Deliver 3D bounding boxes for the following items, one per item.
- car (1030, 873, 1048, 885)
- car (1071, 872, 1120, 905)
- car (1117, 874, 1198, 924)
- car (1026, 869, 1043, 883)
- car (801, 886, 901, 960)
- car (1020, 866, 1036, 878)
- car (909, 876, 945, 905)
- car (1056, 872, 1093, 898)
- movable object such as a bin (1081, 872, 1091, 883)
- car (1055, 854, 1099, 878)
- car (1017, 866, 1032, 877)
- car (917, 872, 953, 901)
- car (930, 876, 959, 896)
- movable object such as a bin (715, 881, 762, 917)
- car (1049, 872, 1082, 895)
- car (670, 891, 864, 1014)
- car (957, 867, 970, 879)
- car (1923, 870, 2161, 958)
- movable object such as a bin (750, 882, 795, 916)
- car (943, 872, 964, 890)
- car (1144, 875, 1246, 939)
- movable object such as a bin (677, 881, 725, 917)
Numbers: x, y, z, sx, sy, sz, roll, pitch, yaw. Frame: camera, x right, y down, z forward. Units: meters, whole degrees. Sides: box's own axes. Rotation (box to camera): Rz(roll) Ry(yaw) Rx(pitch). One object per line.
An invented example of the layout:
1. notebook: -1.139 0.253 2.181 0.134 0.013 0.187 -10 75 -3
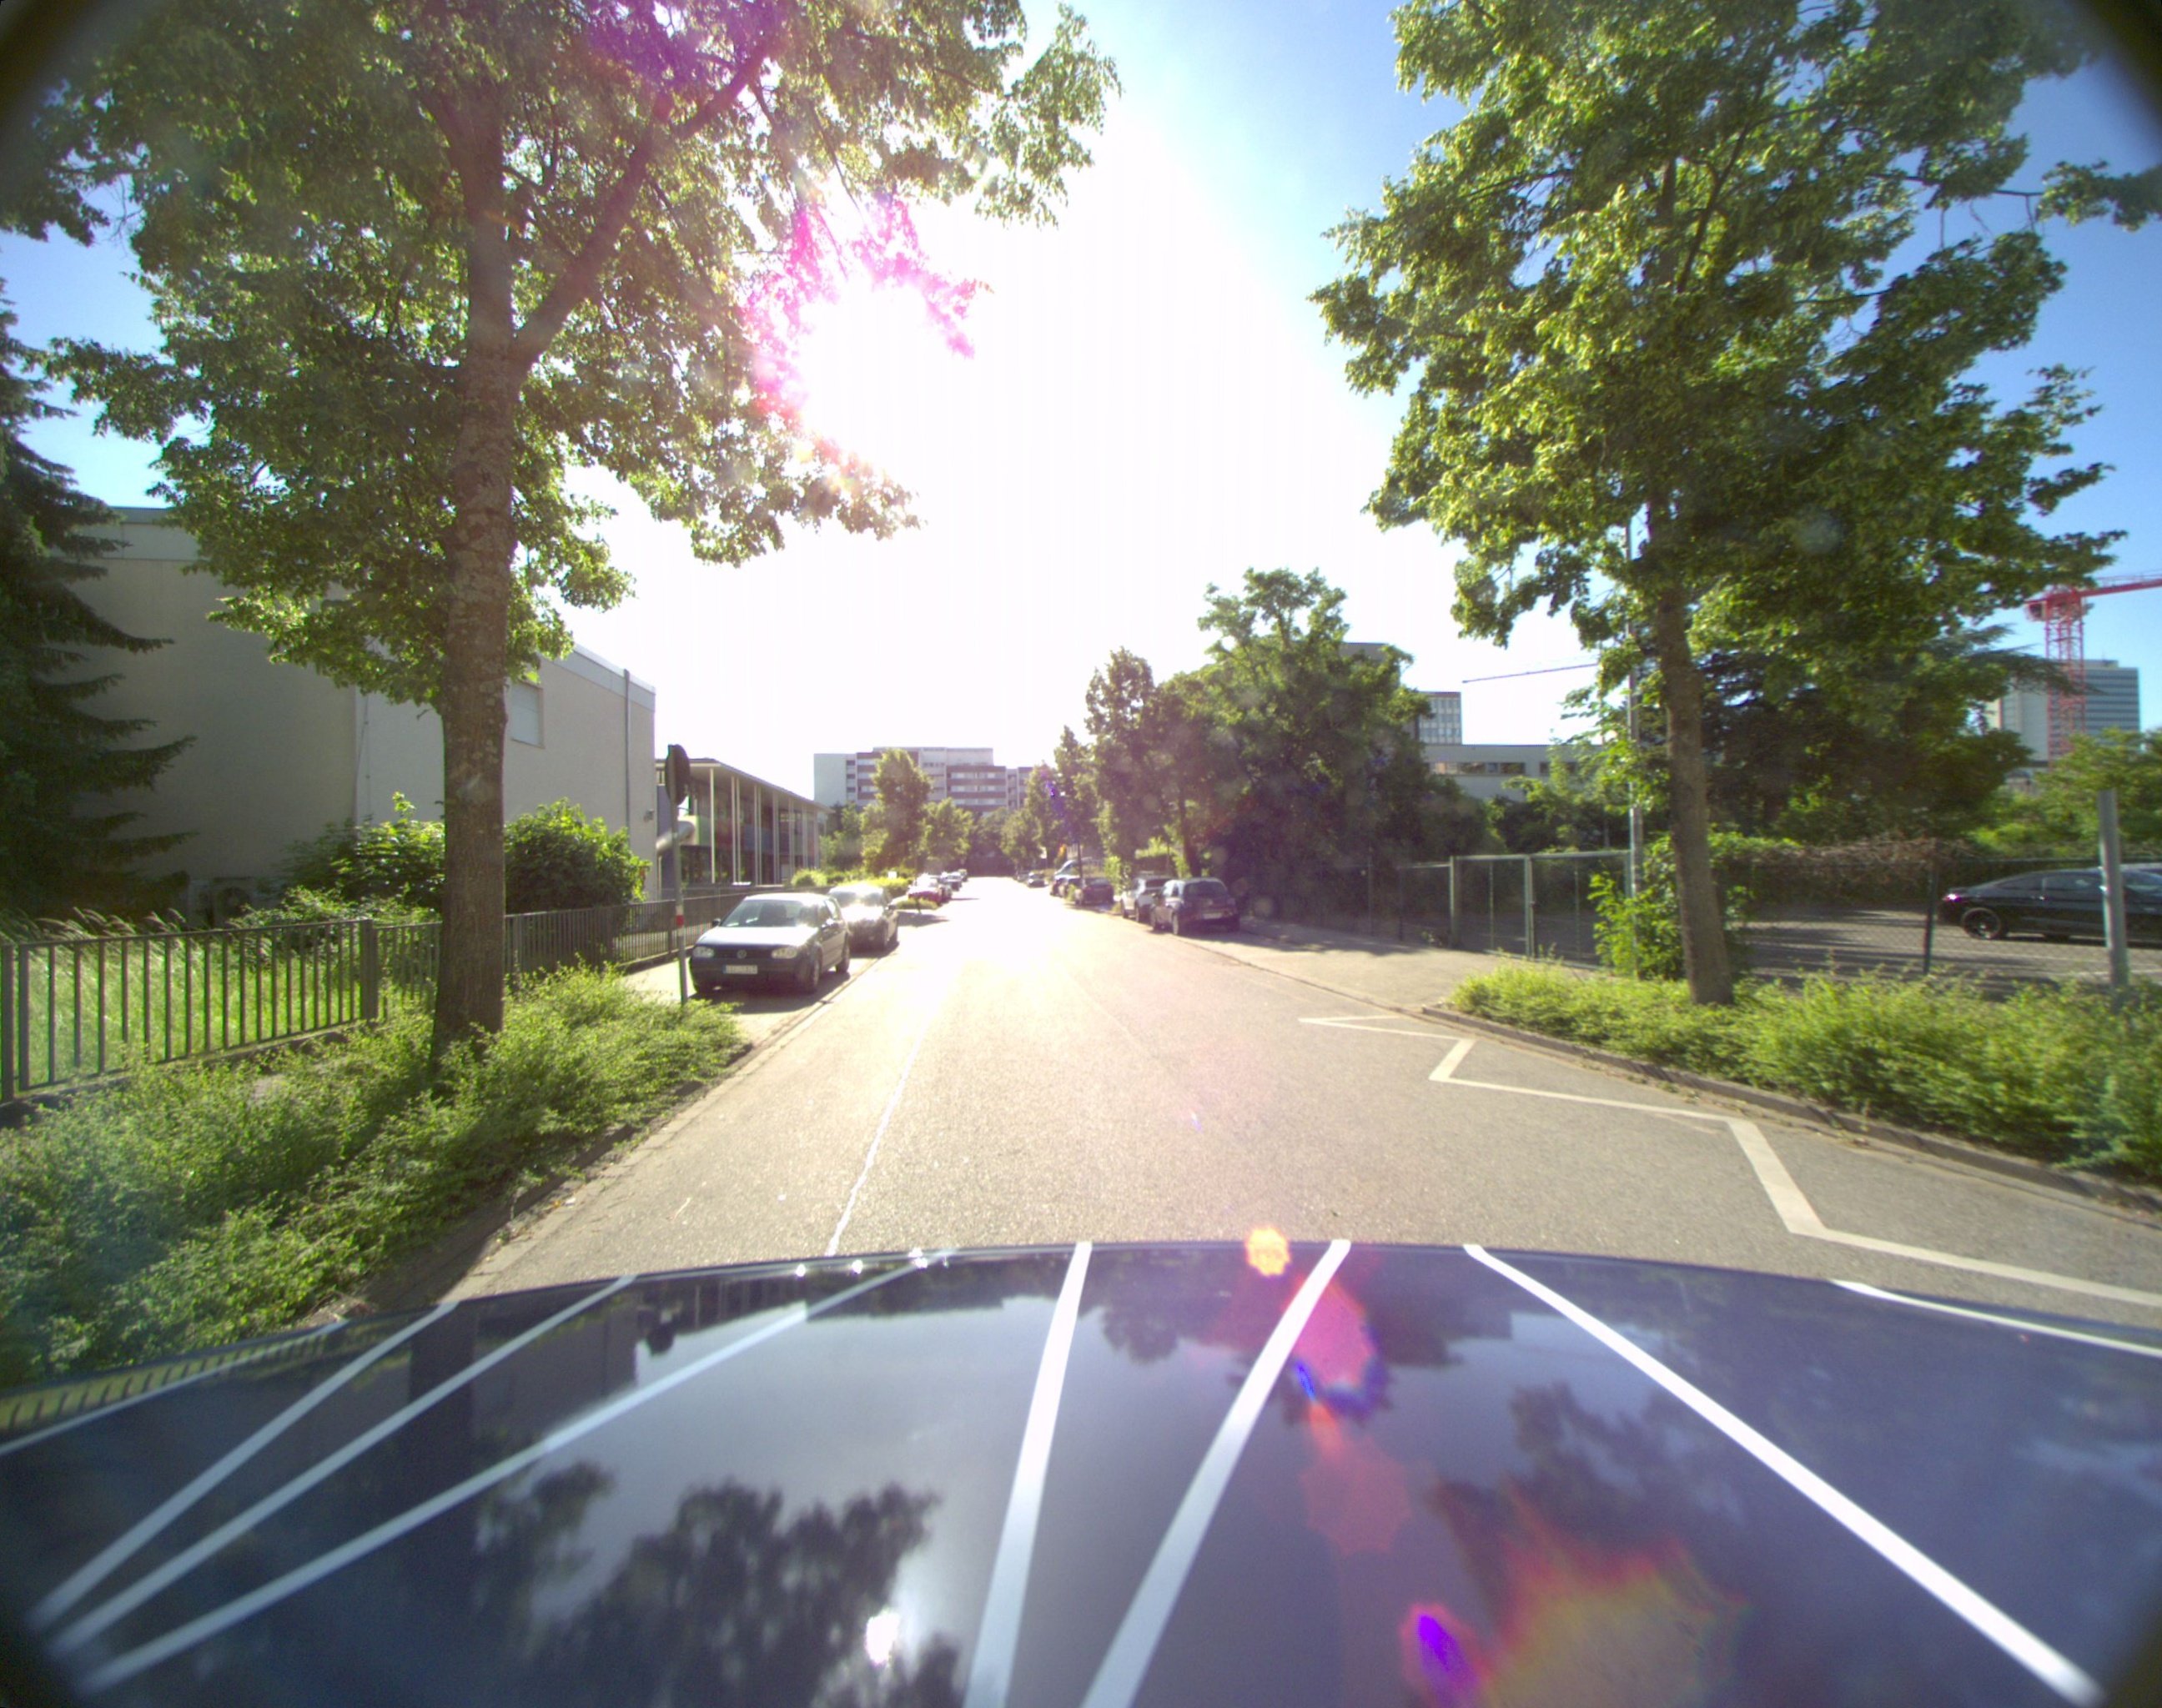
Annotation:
1. car: -4.364 2.556 78.548 1.632 1.240 3.561 0 -1 -7
2. car: 0.701 1.729 39.584 1.846 1.465 4.357 -3 0 -7
3. car: 2.562 1.492 26.328 1.846 1.465 4.000 -3 0 -7
4. car: -5.203 2.416 84.674 1.632 1.515 3.561 -1 -1 -8
5. car: -5.511 1.581 18.653 1.789 1.507 3.998 -1 -1 -9
6. car: -7.253 2.475 103.817 1.797 1.590 3.887 -2 0 -10
7. car: -8.595 2.021 42.649 1.681 1.495 3.844 -1 -1 -8
8. car: -0.485 1.950 48.919 1.846 1.465 4.025 -3 0 -7
9. movable object such as a bin: 0.532 2.326 76.668 0.863 1.031 0.677 -4 0 -10
10. car: -0.531 1.554 95.594 5.157 2.885 2.012 -1 0 -11
11. car: -8.407 2.557 112.600 1.797 1.509 3.887 -2 0 -10
12. car: -9.243 2.026 48.333 1.906 1.672 4.409 0 -1 -7
13. car: -9.945 2.292 55.162 1.969 1.312 4.772 1 -1 -10
14. movable object such as a bin: -14.728 1.910 32.700 1.370 1.439 1.631 -1 -1 -6
15. car: -1.174 2.083 55.303 1.846 1.465 4.097 -3 0 -7
16. car: -4.862 1.430 12.483 1.752 1.413 4.421 -2 0 -7
17. car: -16.528 2.634 106.920 1.646 1.458 3.700 2 0 -7
18. car: 19.343 1.053 14.294 1.972 1.447 4.373 -1 -1 -5
19. movable object such as a bin: -13.300 1.931 32.830 1.370 1.349 1.631 -1 -1 -6
20. car: -12.244 2.571 73.077 1.824 1.637 4.486 2 -1 -7
21. car: 3.061 1.401 21.124 1.723 1.465 3.544 -3 0 -9
22. movable object such as a bin: -16.195 1.920 32.462 1.334 1.439 1.631 -1 -1 -6
